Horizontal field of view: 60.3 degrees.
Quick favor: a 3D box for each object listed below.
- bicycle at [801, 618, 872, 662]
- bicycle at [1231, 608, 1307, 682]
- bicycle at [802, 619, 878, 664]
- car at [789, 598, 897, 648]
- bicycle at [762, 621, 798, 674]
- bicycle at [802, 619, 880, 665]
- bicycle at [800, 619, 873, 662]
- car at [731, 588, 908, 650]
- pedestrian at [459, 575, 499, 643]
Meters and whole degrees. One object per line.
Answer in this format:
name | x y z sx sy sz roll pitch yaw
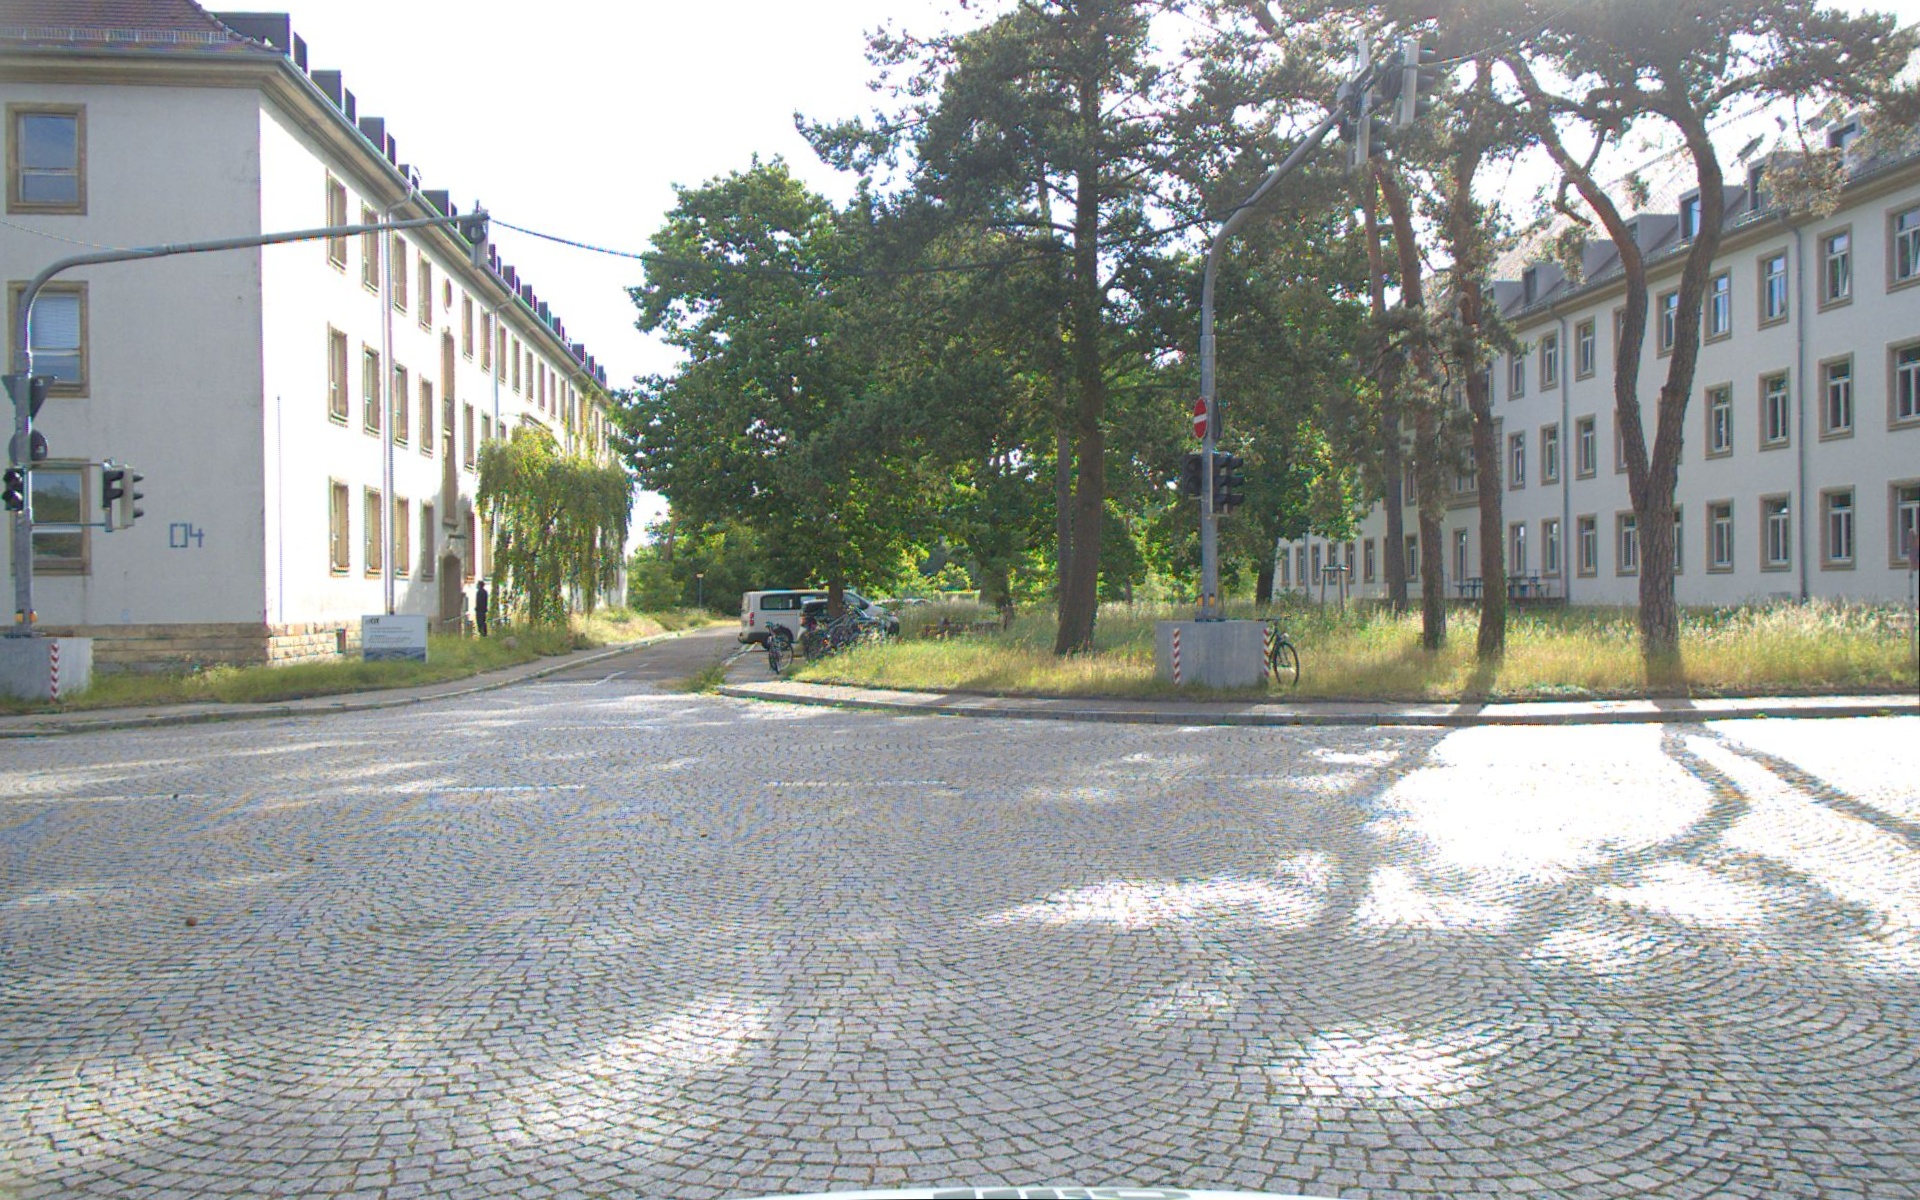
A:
bicycle | -3.104 0.998 41.497 1.759 1.016 0.643 -1 1 -7
bicycle | 4.611 0.656 24.796 0.552 1.016 1.748 -1 1 -10
bicycle | -2.861 0.978 39.273 1.759 1.016 0.643 -1 1 -7
car | -3.597 0.699 50.595 2.986 1.491 1.711 0 -1 -19
bicycle | -3.756 0.977 34.550 0.714 1.016 1.797 -1 1 -6
bicycle | -2.762 0.966 38.259 1.759 1.016 0.643 -1 1 -7
bicycle | -3.039 0.992 40.762 1.759 1.016 0.643 -1 1 -7
car | -4.593 0.610 54.073 5.419 1.949 2.241 0 -1 -20
pedestrian | -14.381 0.280 49.458 0.966 1.998 0.931 0 -1 -6
